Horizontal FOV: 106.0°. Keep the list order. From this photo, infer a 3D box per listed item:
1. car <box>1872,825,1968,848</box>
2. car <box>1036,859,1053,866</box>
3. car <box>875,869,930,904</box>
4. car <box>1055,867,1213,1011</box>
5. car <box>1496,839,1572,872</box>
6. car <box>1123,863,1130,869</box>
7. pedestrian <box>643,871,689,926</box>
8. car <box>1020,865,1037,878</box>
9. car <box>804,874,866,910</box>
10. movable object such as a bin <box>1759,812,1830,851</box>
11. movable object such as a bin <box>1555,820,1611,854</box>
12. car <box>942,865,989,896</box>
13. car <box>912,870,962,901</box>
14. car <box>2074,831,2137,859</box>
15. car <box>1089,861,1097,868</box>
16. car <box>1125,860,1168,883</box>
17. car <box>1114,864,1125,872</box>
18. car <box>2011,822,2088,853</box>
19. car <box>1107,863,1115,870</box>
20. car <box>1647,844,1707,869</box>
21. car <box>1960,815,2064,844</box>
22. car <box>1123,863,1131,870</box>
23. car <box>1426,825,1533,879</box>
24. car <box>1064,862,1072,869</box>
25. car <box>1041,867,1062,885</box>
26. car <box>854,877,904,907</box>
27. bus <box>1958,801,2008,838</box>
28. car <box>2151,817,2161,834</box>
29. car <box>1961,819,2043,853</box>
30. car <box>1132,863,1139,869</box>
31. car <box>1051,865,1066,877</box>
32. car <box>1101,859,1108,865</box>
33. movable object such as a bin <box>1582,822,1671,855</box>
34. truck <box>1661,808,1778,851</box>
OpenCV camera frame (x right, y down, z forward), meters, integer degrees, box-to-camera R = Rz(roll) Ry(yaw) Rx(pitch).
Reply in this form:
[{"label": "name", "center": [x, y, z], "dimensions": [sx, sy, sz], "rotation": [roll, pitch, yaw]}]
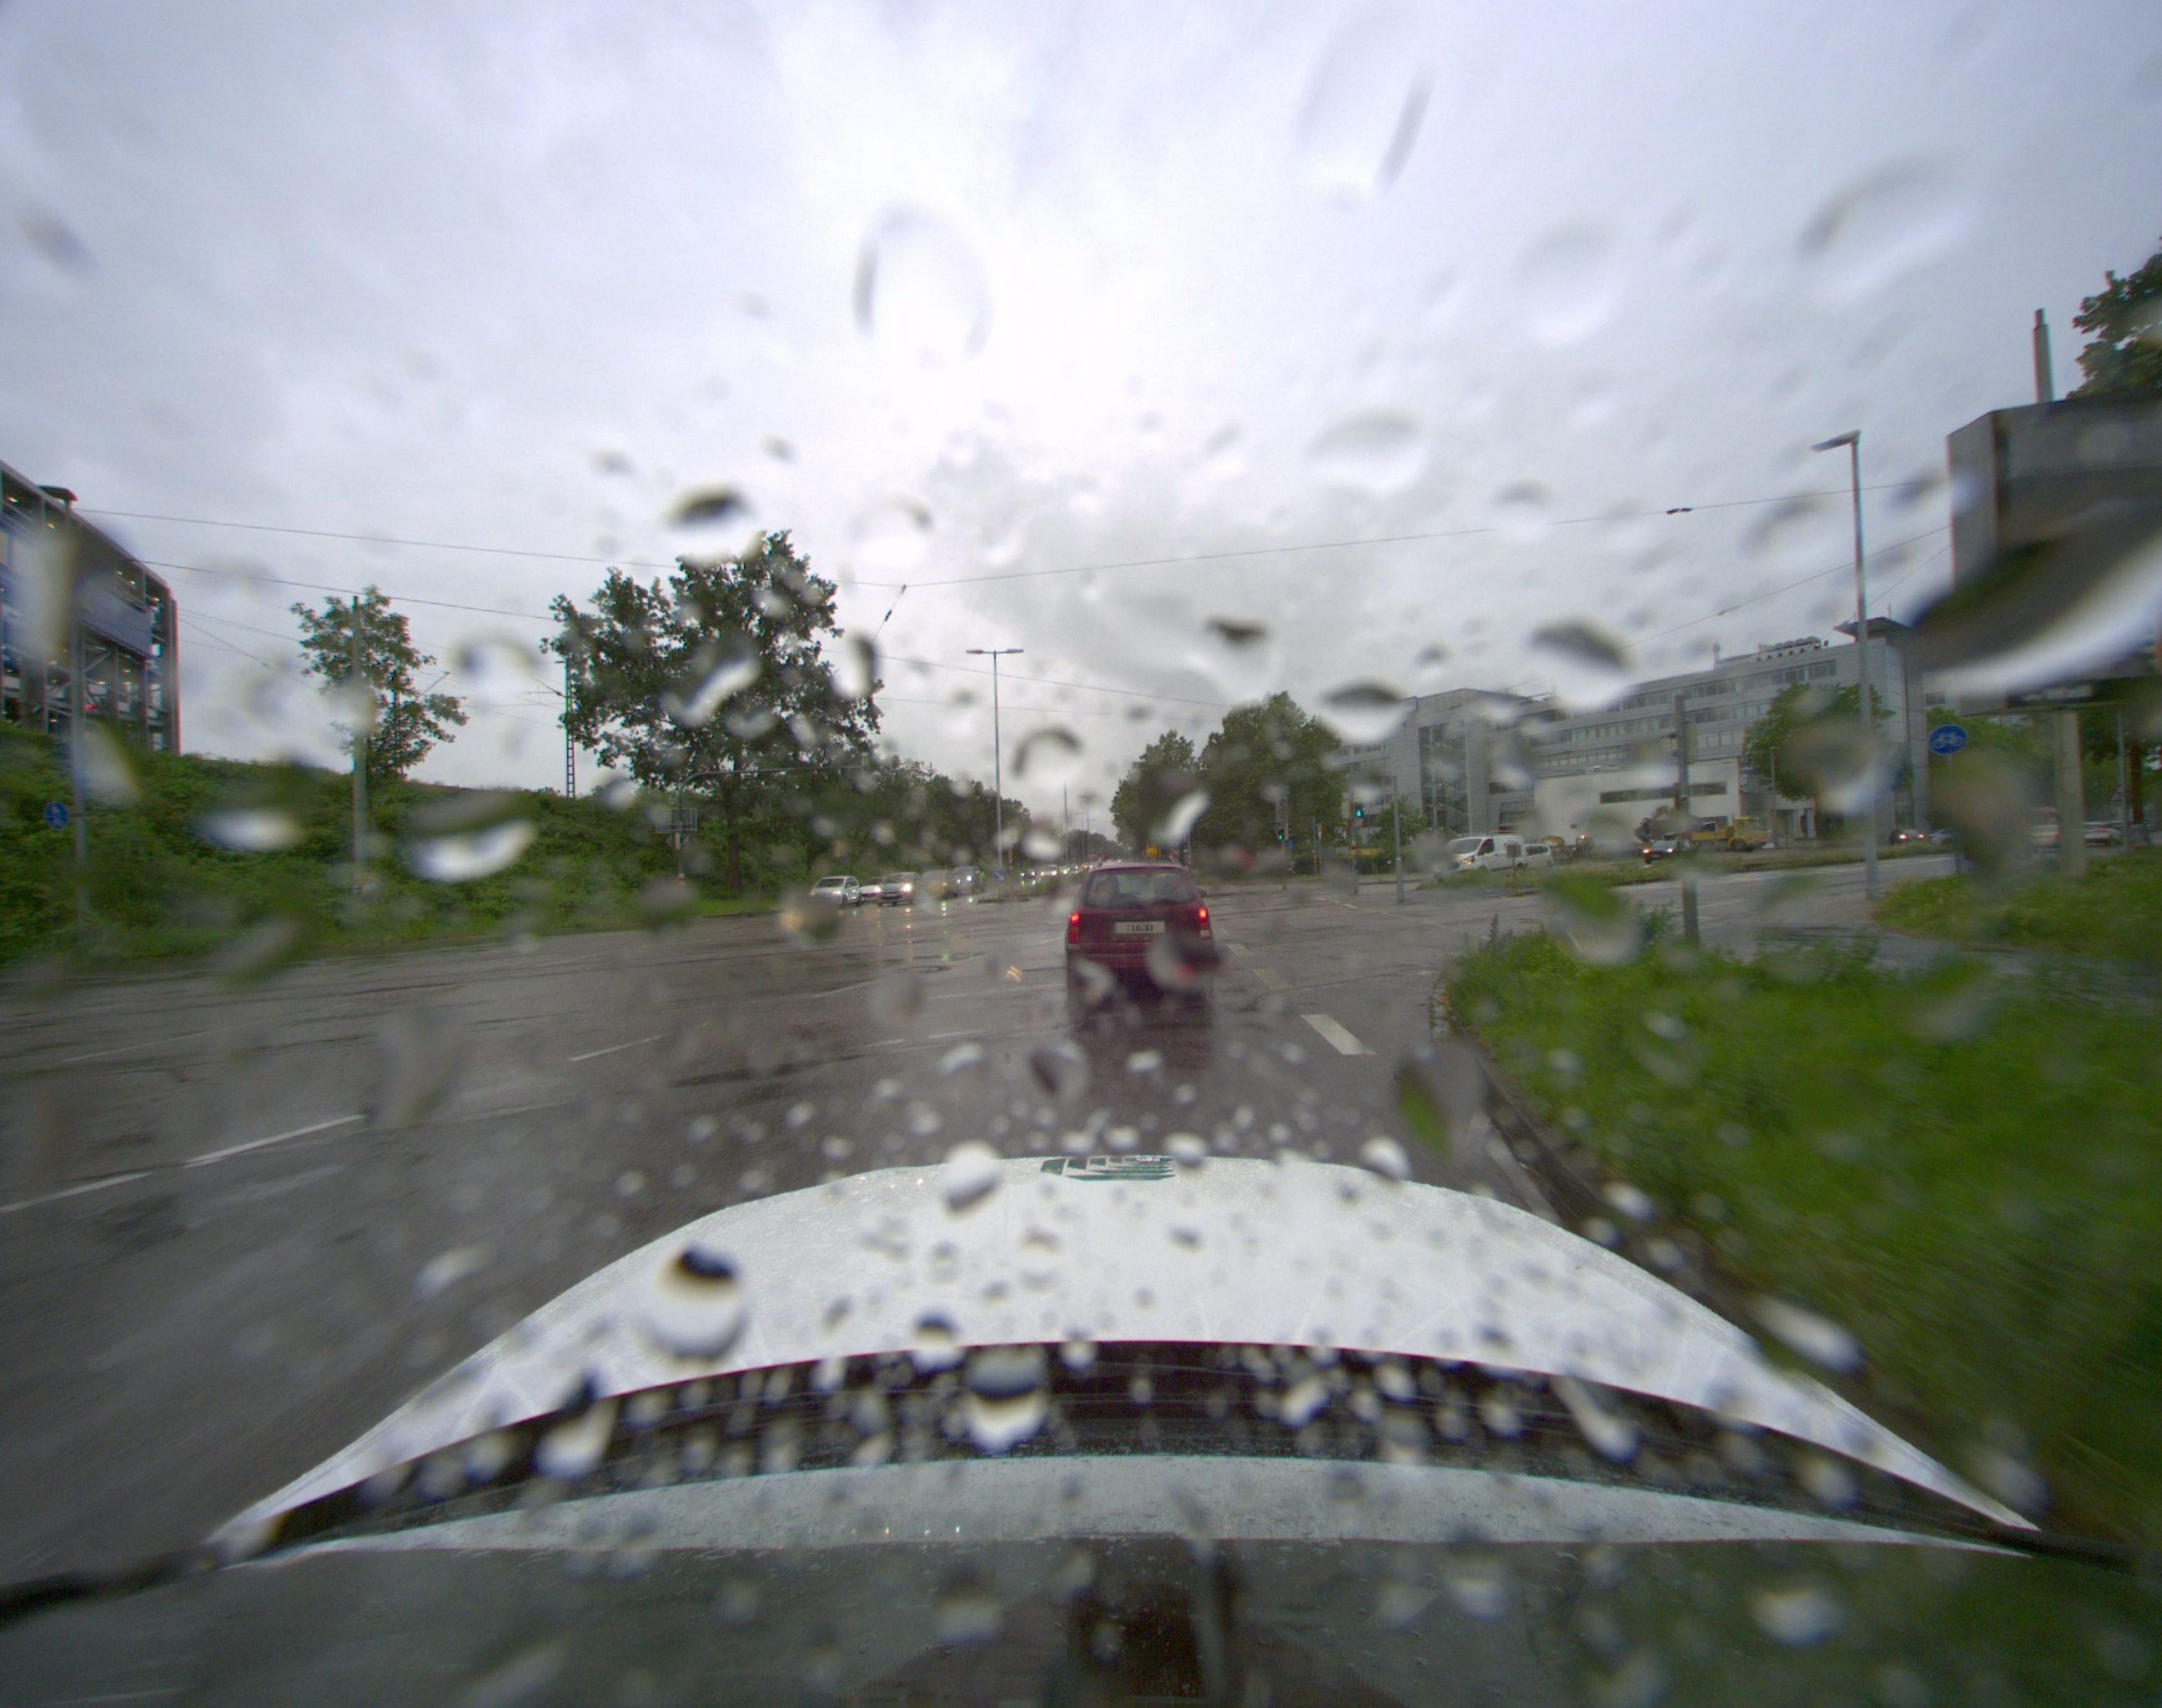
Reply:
[{"label": "car", "center": [67.101, -1.363, 65.208], "dimensions": [1.886, 1.655, 5.014], "rotation": [1, -2, -28]}, {"label": "car", "center": [-10.059, 2.353, 226.718], "dimensions": [4.299, 1.597, 1.949], "rotation": [-2, -1, -32]}, {"label": "car", "center": [-8.332, 1.497, 38.364], "dimensions": [1.632, 1.473, 3.964], "rotation": [-3, -1, 0]}, {"label": "car", "center": [0.630, 0.907, 10.316], "dimensions": [1.636, 1.465, 3.734], "rotation": [0, -1, 2]}, {"label": "car", "center": [24.290, 0.078, 43.606], "dimensions": [4.401, 1.621, 1.757], "rotation": [-2, -1, -36]}, {"label": "car", "center": [11.842, 3.170, 212.538], "dimensions": [1.663, 1.528, 3.851], "rotation": [-2, -1, 5]}, {"label": "pedestrian", "center": [-14.638, 1.558, 28.752], "dimensions": [1.101, 1.847, 1.127], "rotation": [-2, -1, -9]}, {"label": "car", "center": [-7.065, 2.311, 109.866], "dimensions": [1.737, 1.702, 4.286], "rotation": [0, -1, 2]}, {"label": "car", "center": [-11.379, 1.720, 37.913], "dimensions": [1.632, 1.452, 3.788], "rotation": [-3, -1, 1]}, {"label": "movable object such as a bin", "center": [68.448, -2.164, 78.122], "dimensions": [6.344, 3.507, 3.294], "rotation": [-2, -1, -32]}, {"label": "movable object such as a bin", "center": [48.338, -1.604, 78.429], "dimensions": [3.341, 2.996, 3.297], "rotation": [-2, -1, -33]}, {"label": "car", "center": [-7.586, 1.715, 53.918], "dimensions": [2.057, 1.819, 5.544], "rotation": [-3, -1, 2]}, {"label": "car", "center": [-8.000, 1.718, 45.663], "dimensions": [1.756, 1.586, 4.815], "rotation": [-3, -1, 2]}, {"label": "car", "center": [64.352, -0.562, 51.133], "dimensions": [4.643, 1.586, 1.907], "rotation": [-2, -1, -32]}, {"label": "car", "center": [3.206, 2.887, 225.784], "dimensions": [1.955, 1.597, 4.287], "rotation": [-3, -1, 3]}, {"label": "car", "center": [4.989, 1.315, 62.467], "dimensions": [1.741, 1.726, 4.217], "rotation": [-1, -1, -19]}, {"label": "car", "center": [8.031, 2.915, 170.058], "dimensions": [2.137, 1.528, 4.198], "rotation": [-2, -1, 5]}, {"label": "car", "center": [52.436, -0.901, 44.068], "dimensions": [4.845, 1.491, 1.908], "rotation": [-1, -1, -31]}, {"label": "car", "center": [6.824, 2.750, 184.959], "dimensions": [1.690, 1.528, 3.851], "rotation": [-2, -1, 5]}, {"label": "car", "center": [40.336, 0.161, 55.107], "dimensions": [4.664, 1.524, 1.781], "rotation": [-2, -1, -34]}, {"label": "car", "center": [73.436, -1.917, 64.296], "dimensions": [2.010, 2.014, 5.302], "rotation": [1, -2, -39]}, {"label": "car", "center": [9.956, 2.708, 176.352], "dimensions": [1.690, 1.528, 3.850], "rotation": [-2, -1, 4]}, {"label": "car", "center": [17.155, -0.105, 34.988], "dimensions": [4.707, 2.125, 1.979], "rotation": [-1, -2, -34]}, {"label": "car", "center": [-3.511, 3.228, 228.455], "dimensions": [1.955, 1.597, 4.286], "rotation": [-3, -1, 2]}, {"label": "car", "center": [-2.964, 2.184, 82.051], "dimensions": [1.737, 1.702, 4.286], "rotation": [-4, -1, 2]}, {"label": "car", "center": [-10.924, 2.028, 44.321], "dimensions": [1.584, 1.404, 3.825], "rotation": [-3, -1, 2]}, {"label": "bus", "center": [81.692, -3.062, 73.694], "dimensions": [8.573, 3.036, 2.498], "rotation": [-2, -2, -40]}, {"label": "car", "center": [99.755, -2.685, 74.338], "dimensions": [4.845, 1.491, 1.908], "rotation": [-1, -1, -31]}, {"label": "car", "center": [42.764, -0.809, 37.811], "dimensions": [3.827, 1.491, 1.663], "rotation": [-1, -1, -29]}, {"label": "car", "center": [14.122, 3.089, 210.212], "dimensions": [1.663, 1.528, 3.850], "rotation": [-2, -1, 5]}, {"label": "car", "center": [-3.535, 2.709, 129.056], "dimensions": [1.955, 1.702, 4.286], "rotation": [-3, -1, 2]}, {"label": "car", "center": [6.540, 2.317, 226.601], "dimensions": [1.690, 1.528, 3.851], "rotation": [-2, -1, 5]}, {"label": "movable object such as a bin", "center": [55.495, -1.520, 82.968], "dimensions": [3.341, 2.996, 6.652], "rotation": [-2, -1, -33]}, {"label": "truck", "center": [59.520, -2.240, 76.085], "dimensions": [3.340, 3.507, 7.809], "rotation": [-2, -1, -32]}]
